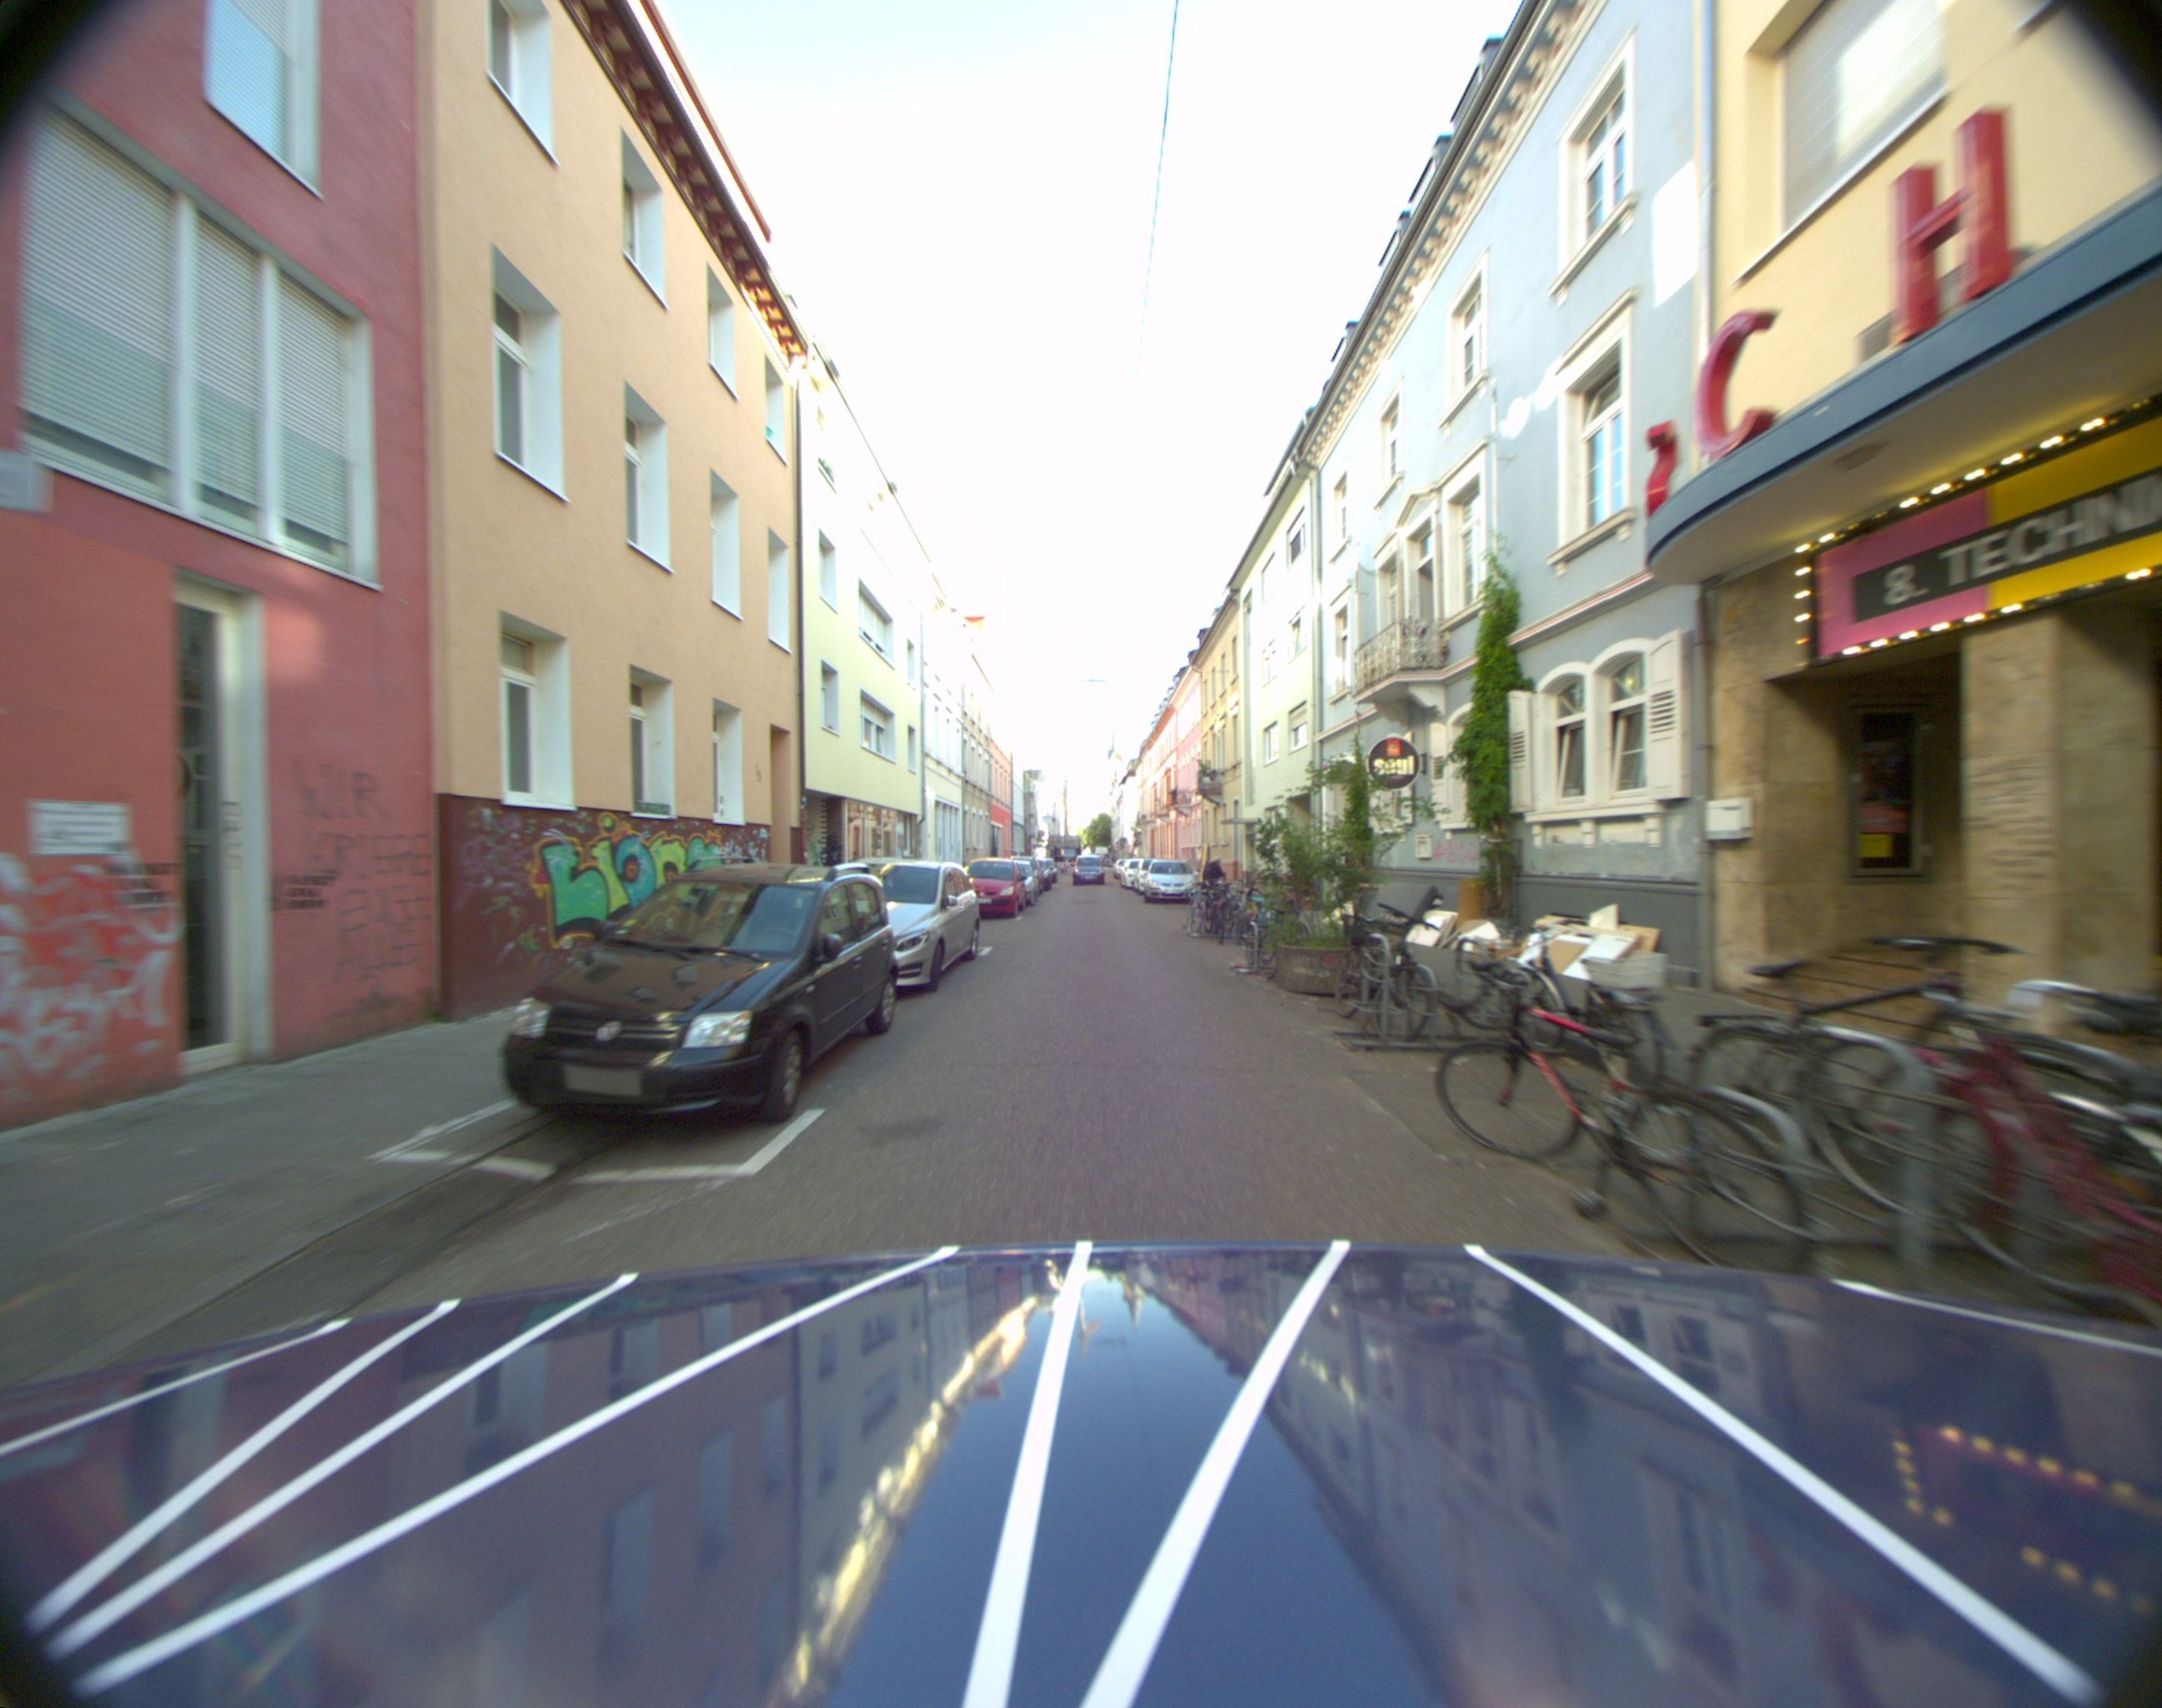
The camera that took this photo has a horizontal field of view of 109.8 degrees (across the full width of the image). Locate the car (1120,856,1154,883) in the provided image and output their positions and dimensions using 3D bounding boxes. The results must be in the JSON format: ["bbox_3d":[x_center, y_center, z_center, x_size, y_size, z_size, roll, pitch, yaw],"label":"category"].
[{"bbox_3d":[3.171,0.859,43.724,1.730,1.383,4.303,1,0,2],"label":"car"}]

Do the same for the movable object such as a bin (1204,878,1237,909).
[{"bbox_3d":[4.244,1.182,23.087,0.845,0.892,0.586,-1,1,24],"label":"movable object such as a bin"}]

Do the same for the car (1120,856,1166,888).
[{"bbox_3d":[2.943,0.829,36.789,1.792,1.454,4.199,1,0,-1],"label":"car"}]

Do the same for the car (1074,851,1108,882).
[{"bbox_3d":[0.550,0.668,42.440,1.832,1.650,4.213,0,0,1],"label":"car"}]

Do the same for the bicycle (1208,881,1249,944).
[{"bbox_3d":[2.951,1.138,15.308,0.444,1.099,1.931,-1,0,0],"label":"bicycle"}]

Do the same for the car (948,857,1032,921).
[{"bbox_3d":[-2.386,0.868,20.847,1.701,1.514,3.980,1,0,1],"label":"car"}]

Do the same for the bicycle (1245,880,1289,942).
[{"bbox_3d":[3.700,1.104,15.184,0.444,1.099,1.698,-1,0,0],"label":"bicycle"}]

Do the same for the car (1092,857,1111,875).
[{"bbox_3d":[1.810,1.050,67.448,1.644,1.528,3.842,0,0,0],"label":"car"}]

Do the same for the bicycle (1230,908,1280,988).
[{"bbox_3d":[2.362,1.254,10.436,0.391,0.911,1.393,0,0,1],"label":"bicycle"}]

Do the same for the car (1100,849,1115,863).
[{"bbox_3d":[3.801,0.230,109.164,1.998,2.002,4.258,0,0,1],"label":"car"}]

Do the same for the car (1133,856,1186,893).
[{"bbox_3d":[3.206,0.803,31.777,1.794,1.443,4.000,0,0,0],"label":"car"}]

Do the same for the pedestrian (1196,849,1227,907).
[{"bbox_3d":[3.889,0.702,22.669,0.713,1.698,0.673,-1,1,27],"label":"pedestrian"}]

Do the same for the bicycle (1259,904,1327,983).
[{"bbox_3d":[2.974,1.229,10.781,0.555,0.938,1.571,0,0,1],"label":"bicycle"}]

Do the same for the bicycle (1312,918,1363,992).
[{"bbox_3d":[3.430,1.331,10.226,0.256,0.813,1.299,-1,0,1],"label":"bicycle"}]

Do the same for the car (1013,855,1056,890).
[{"bbox_3d":[-2.157,0.834,36.465,1.766,1.513,4.380,-1,0,0],"label":"car"}]

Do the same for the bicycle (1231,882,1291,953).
[{"bbox_3d":[3.170,1.105,13.460,0.815,1.168,0.920,-1,1,-2],"label":"bicycle"}]

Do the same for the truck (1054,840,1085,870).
[{"bbox_3d":[-1.070,0.058,75.635,2.819,2.735,7.677,-2,0,0],"label":"truck"}]

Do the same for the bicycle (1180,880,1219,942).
[{"bbox_3d":[2.362,1.103,15.277,0.500,1.099,1.829,-1,0,0],"label":"bicycle"}]

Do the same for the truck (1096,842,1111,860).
[{"bbox_3d":[4.037,-0.502,137.803,2.524,3.271,6.642,0,0,1],"label":"truck"}]

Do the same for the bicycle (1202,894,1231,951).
[{"bbox_3d":[2.428,1.214,13.681,0.322,0.911,1.290,0,0,1],"label":"bicycle"}]

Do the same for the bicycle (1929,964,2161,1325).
[{"bbox_3d":[3.984,1.081,2.642,0.340,1.167,1.489,-2,1,-3],"label":"bicycle"}]

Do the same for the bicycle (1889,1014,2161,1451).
[{"bbox_3d":[3.497,1.239,2.229,0.400,1.167,1.669,-2,0,-3],"label":"bicycle"}]

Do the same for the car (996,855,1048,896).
[{"bbox_3d":[-2.333,0.821,30.942,1.794,1.542,4.000,0,0,0],"label":"car"}]

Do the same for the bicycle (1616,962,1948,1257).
[{"bbox_3d":[3.428,1.170,3.866,0.418,1.041,1.318,-2,1,-3],"label":"bicycle"}]

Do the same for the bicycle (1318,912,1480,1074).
[{"bbox_3d":[2.746,1.142,6.801,0.547,1.088,1.881,-2,0,-3],"label":"bicycle"}]

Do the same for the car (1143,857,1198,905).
[{"bbox_3d":[3.026,0.868,26.282,1.684,1.446,4.034,1,0,4],"label":"car"}]

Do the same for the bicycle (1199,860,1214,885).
[{"bbox_3d":[5.865,0.845,35.541,0.418,1.095,1.494,-1,0,0],"label":"bicycle"}]

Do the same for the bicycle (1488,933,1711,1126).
[{"bbox_3d":[3.621,1.167,5.449,0.575,1.039,1.409,-1,1,-4],"label":"bicycle"}]

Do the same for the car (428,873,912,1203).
[{"bbox_3d":[-2.511,0.990,5.641,1.606,1.530,3.450,2,0,1],"label":"car"}]

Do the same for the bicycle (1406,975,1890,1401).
[{"bbox_3d":[2.198,1.188,3.275,0.462,1.041,1.748,-2,0,-15],"label":"bicycle"}]

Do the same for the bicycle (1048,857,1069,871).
[{"bbox_3d":[-1.920,0.829,65.336,1.713,1.130,0.470,-2,1,-11],"label":"bicycle"}]

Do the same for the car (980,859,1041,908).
[{"bbox_3d":[-2.270,0.916,25.424,1.692,1.444,4.193,1,0,-1],"label":"car"}]

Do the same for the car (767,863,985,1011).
[{"bbox_3d":[-2.506,0.930,10.390,1.750,1.547,4.171,0,0,1],"label":"car"}]

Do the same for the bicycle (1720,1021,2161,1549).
[{"bbox_3d":[2.908,1.220,2.205,0.443,1.041,1.864,-2,0,-3],"label":"bicycle"}]

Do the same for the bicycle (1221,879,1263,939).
[{"bbox_3d":[3.306,1.108,15.744,0.444,1.099,1.874,-1,0,-1],"label":"bicycle"}]

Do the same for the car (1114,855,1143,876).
[{"bbox_3d":[3.343,0.797,54.097,1.771,1.335,4.380,1,0,0],"label":"car"}]

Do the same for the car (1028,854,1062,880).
[{"bbox_3d":[-2.174,0.787,46.701,1.831,1.474,4.464,1,0,0],"label":"car"}]
